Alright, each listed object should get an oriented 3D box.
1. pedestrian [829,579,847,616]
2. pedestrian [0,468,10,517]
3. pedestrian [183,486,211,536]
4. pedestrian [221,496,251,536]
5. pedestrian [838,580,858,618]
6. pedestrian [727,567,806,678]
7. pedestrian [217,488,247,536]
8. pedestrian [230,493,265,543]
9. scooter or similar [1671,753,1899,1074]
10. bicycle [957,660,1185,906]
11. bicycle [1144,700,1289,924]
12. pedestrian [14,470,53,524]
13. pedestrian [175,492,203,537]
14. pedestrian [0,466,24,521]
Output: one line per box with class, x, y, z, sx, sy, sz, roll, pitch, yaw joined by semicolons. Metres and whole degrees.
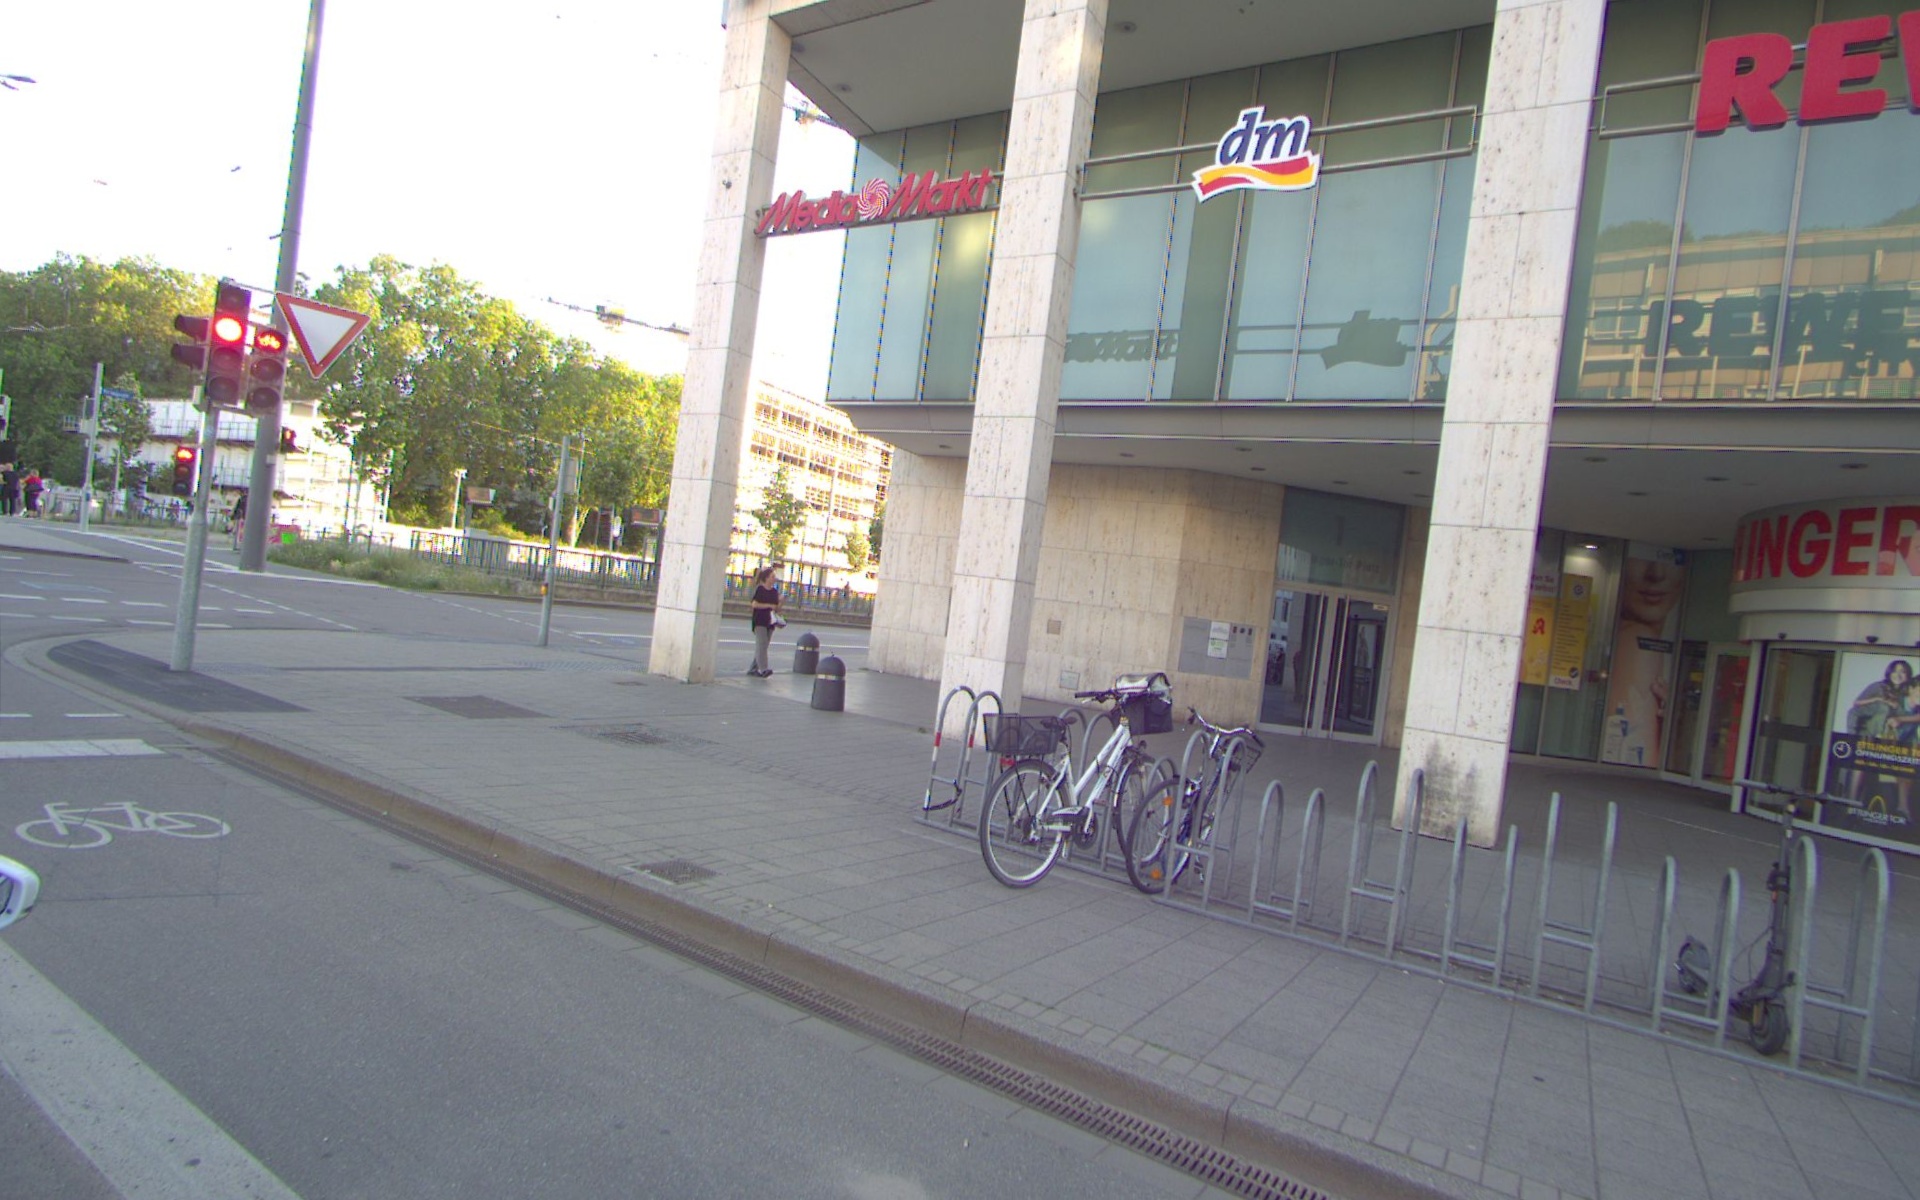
pedestrian;-6.962;-0.130;57.559;0.559;2.039;0.575;8;1;28
pedestrian;-33.980;-3.810;35.456;0.570;1.699;0.631;7;1;-44
pedestrian;-28.800;-3.359;37.978;0.663;1.746;0.705;7;1;-40
pedestrian;-28.209;-3.269;39.212;0.704;1.459;0.675;8;1;39
pedestrian;-6.377;-0.067;57.201;0.631;2.039;0.626;8;1;28
pedestrian;-3.080;0.373;16.027;0.696;1.659;0.791;8;1;32
pedestrian;-27.870;-3.372;38.506;0.708;1.746;0.660;7;1;-41
pedestrian;-27.208;-3.126;38.413;0.700;1.746;0.668;8;1;26
scooter or similar;3.988;1.441;4.954;0.484;1.214;1.196;8;1;27
bicycle;0.701;1.010;5.923;0.540;1.198;1.479;8;1;36
bicycle;1.675;1.244;6.371;0.474;1.092;1.773;8;0;24
pedestrian;-32.682;-3.625;35.489;0.696;1.756;0.843;8;1;44
pedestrian;-29.557;-3.263;38.563;0.527;1.612;0.571;8;1;32
pedestrian;-32.820;-3.678;34.570;0.803;1.814;0.790;7;1;-44
